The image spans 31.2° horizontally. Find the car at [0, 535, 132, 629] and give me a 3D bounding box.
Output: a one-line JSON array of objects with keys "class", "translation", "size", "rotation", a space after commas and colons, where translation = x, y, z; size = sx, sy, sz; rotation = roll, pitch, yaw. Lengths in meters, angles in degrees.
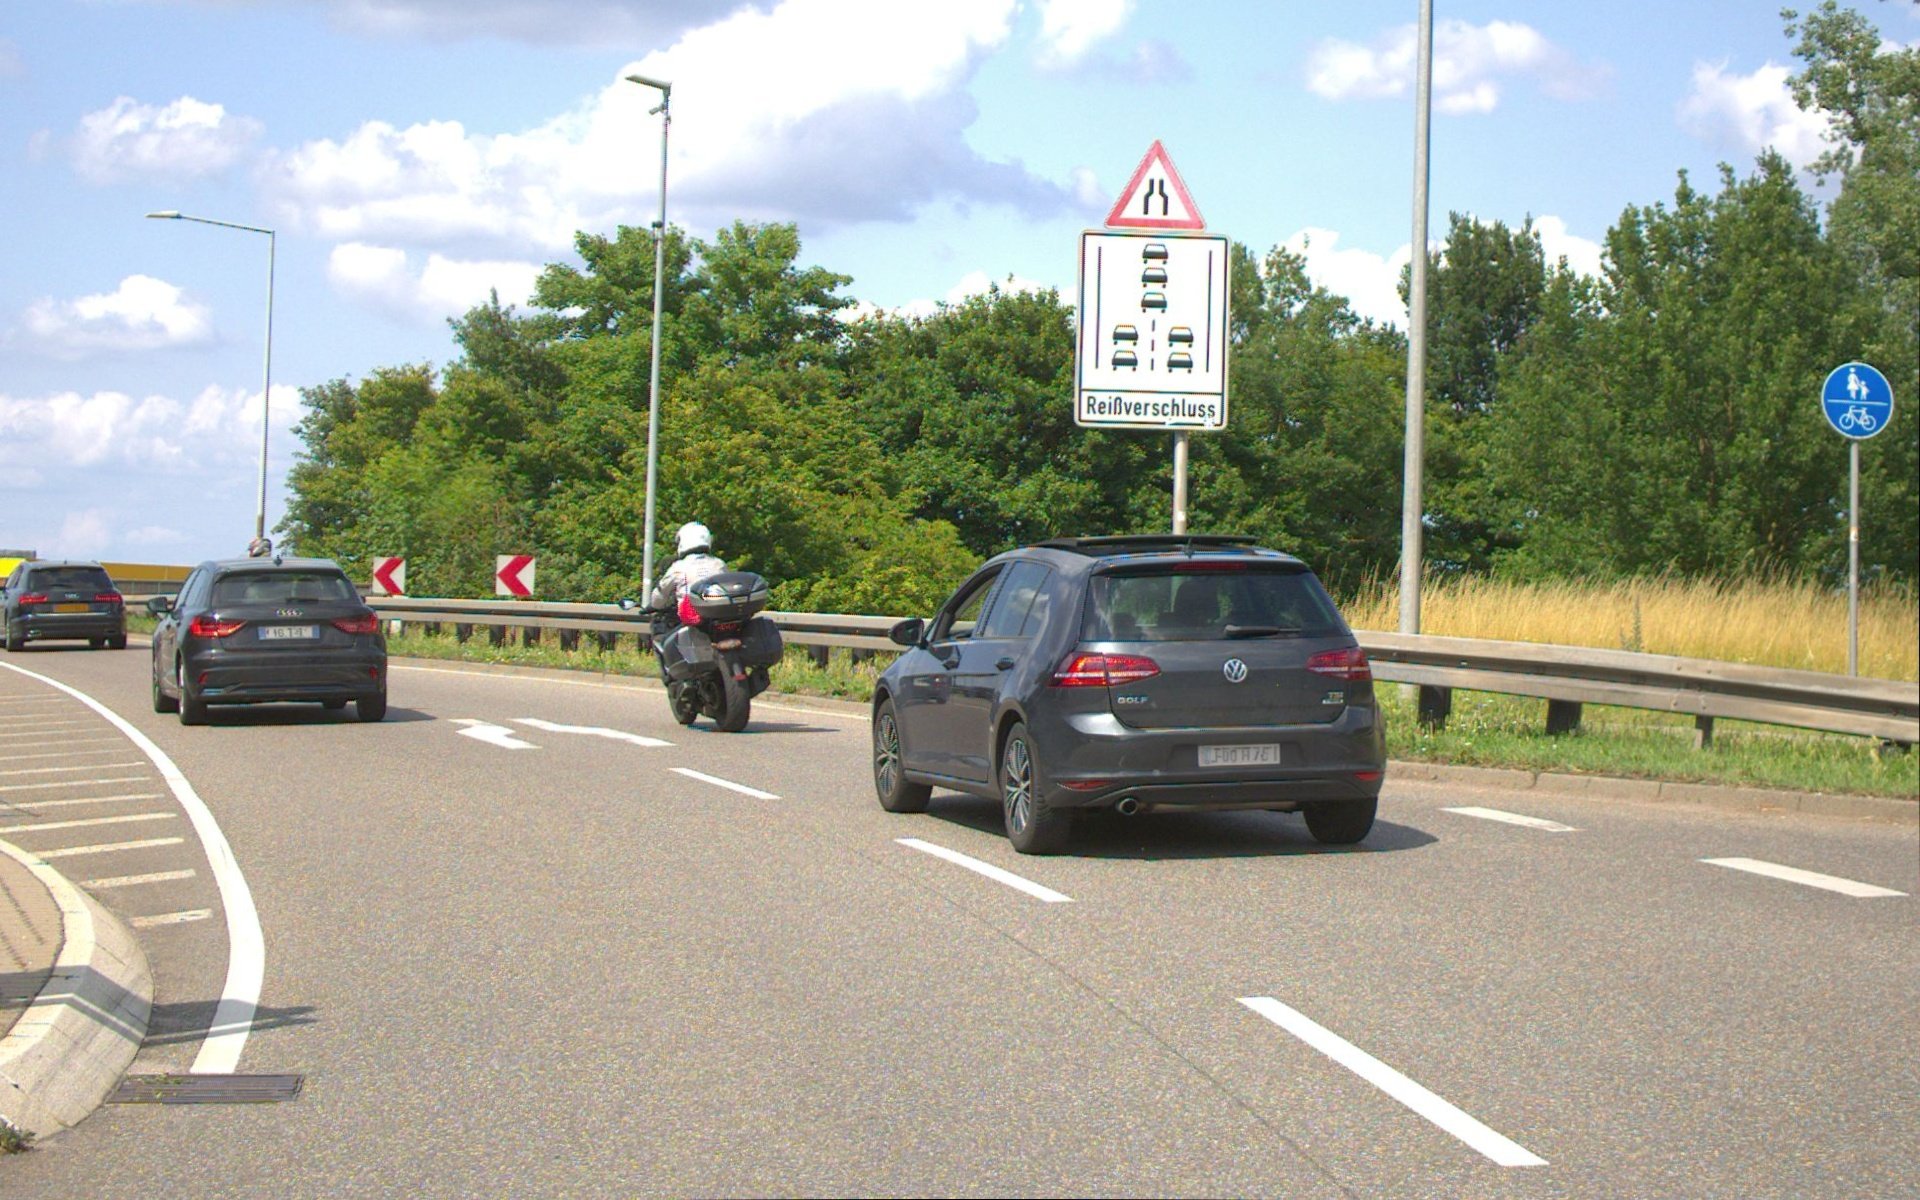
[{"class": "car", "translation": [-14.537, -0.276, 55.791], "size": [1.642, 1.474, 3.873], "rotation": [0, 0, -21]}]

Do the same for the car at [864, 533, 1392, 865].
[{"class": "car", "translation": [0.719, 0.444, 17.362], "size": [1.642, 1.474, 3.873], "rotation": [0, 0, -13]}]

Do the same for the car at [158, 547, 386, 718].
[{"class": "car", "translation": [-6.068, 0.280, 30.069], "size": [1.681, 1.383, 3.740], "rotation": [-1, 0, -15]}]

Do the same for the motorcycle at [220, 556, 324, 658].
[{"class": "motorcycle", "translation": [-8.668, 0.073, 43.247], "size": [0.887, 1.243, 2.400], "rotation": [1, 0, -21]}]

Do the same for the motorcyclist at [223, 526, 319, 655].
[{"class": "motorcyclist", "translation": [-8.658, -0.120, 43.171], "size": [0.965, 1.590, 1.125], "rotation": [1, 0, -22]}]

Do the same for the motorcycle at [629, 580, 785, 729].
[{"class": "motorcycle", "translation": [-2.040, 0.413, 27.390], "size": [0.789, 1.128, 2.400], "rotation": [1, 0, -15]}]

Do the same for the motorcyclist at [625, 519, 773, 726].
[{"class": "motorcyclist", "translation": [-2.101, 0.181, 27.586], "size": [0.965, 1.615, 1.125], "rotation": [1, 0, -15]}]
